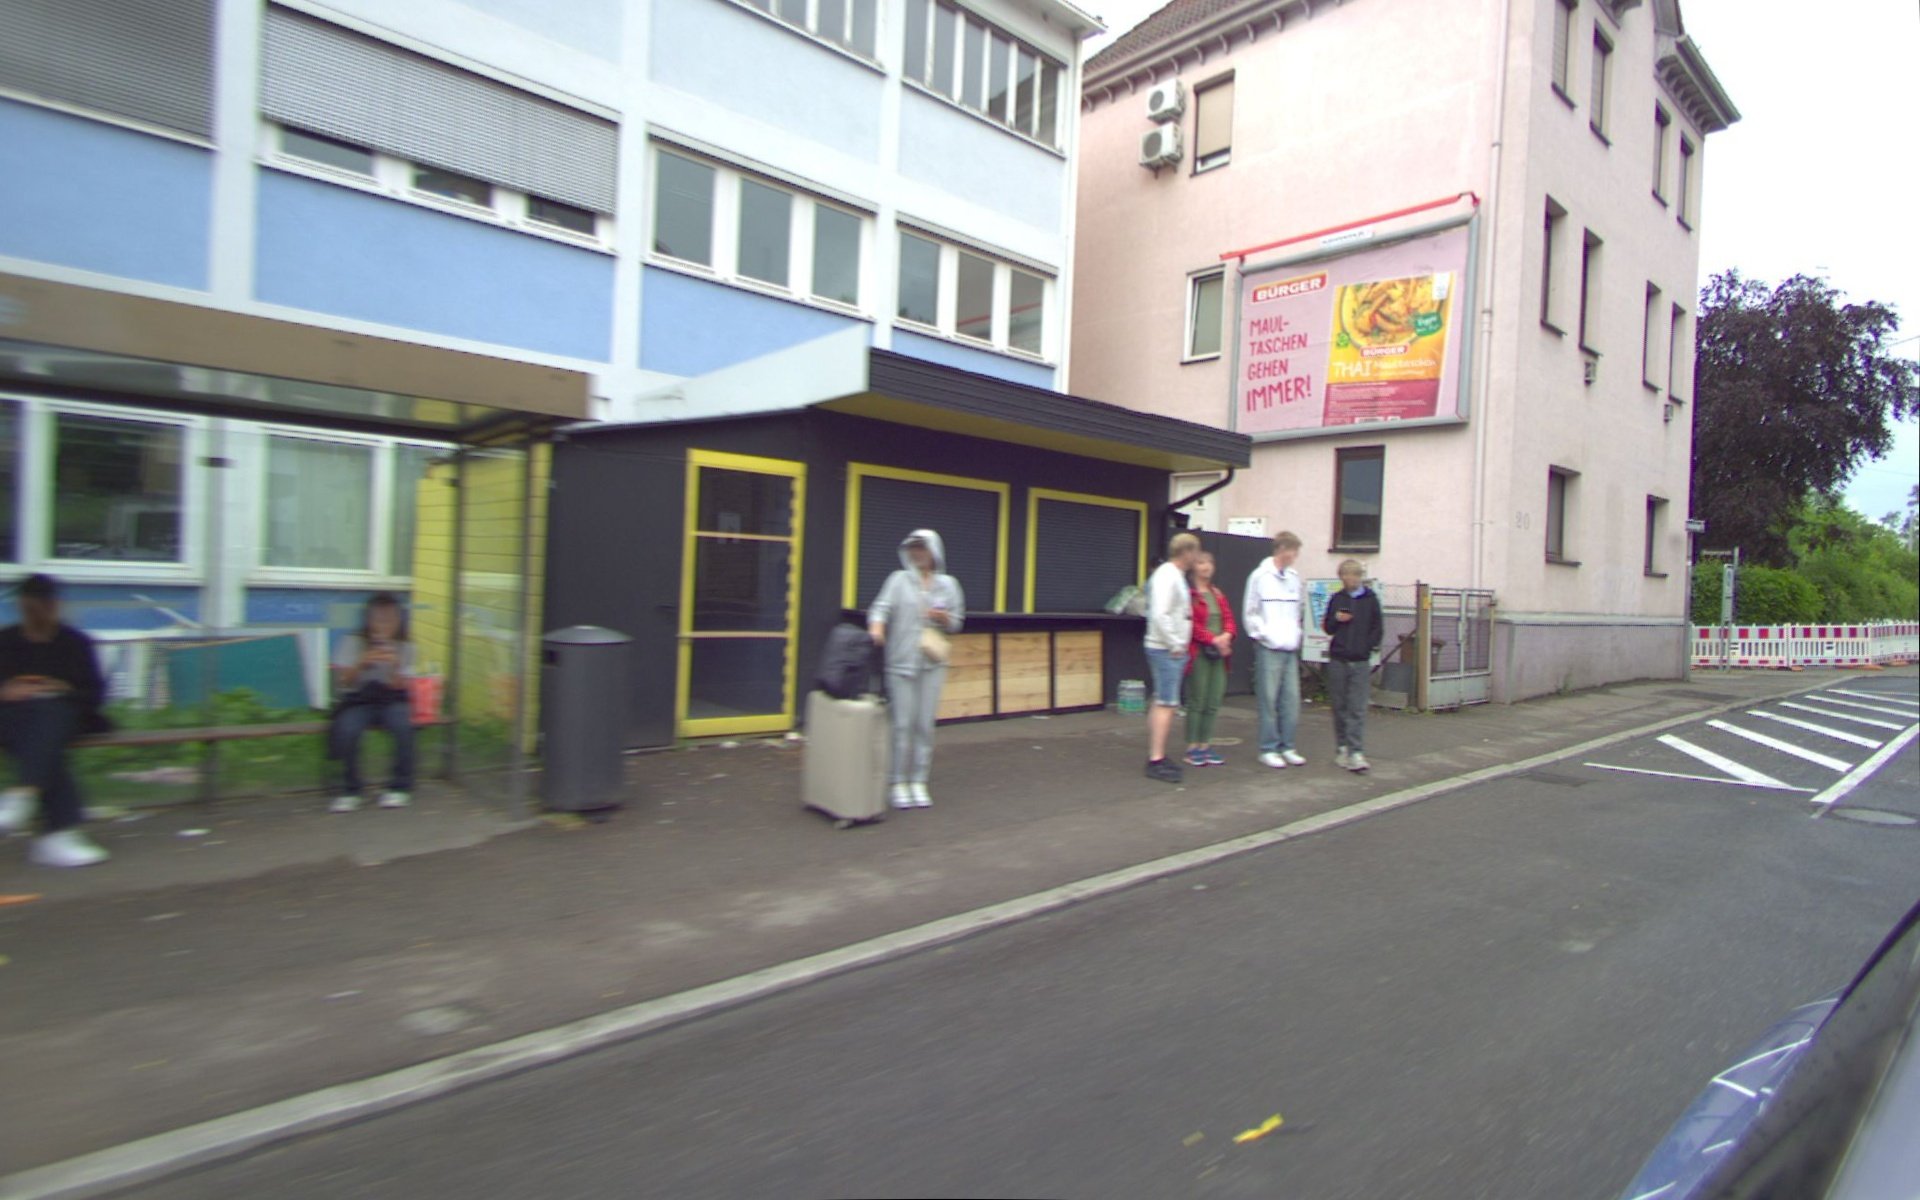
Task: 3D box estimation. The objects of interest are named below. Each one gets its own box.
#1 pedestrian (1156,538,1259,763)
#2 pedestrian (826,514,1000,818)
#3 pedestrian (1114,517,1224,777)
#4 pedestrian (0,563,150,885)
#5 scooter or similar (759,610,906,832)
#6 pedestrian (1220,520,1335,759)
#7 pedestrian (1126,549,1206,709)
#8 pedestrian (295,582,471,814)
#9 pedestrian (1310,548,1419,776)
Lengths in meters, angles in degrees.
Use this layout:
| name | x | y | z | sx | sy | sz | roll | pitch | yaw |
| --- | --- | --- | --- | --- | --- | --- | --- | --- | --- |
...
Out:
| name | x | y | z | sx | sy | sz | roll | pitch | yaw |
| --- | --- | --- | --- | --- | --- | --- | --- | --- | --- |
| pedestrian | 1.978 | 0.387 | 8.107 | 0.546 | 1.728 | 0.449 | 2 | 3 | -26 |
| pedestrian | -0.295 | 0.364 | 6.385 | 0.660 | 1.762 | 0.816 | 4 | 3 | 44 |
| pedestrian | 1.571 | 0.327 | 7.612 | 0.459 | 1.862 | 0.595 | 6 | 4 | 44 |
| pedestrian | -4.343 | 0.494 | 4.718 | 1.356 | 1.289 | 0.730 | 4 | 3 | 44 |
| scooter or similar | -0.746 | 0.662 | 5.902 | 0.618 | 1.154 | 0.559 | 4 | 3 | 44 |
| pedestrian | 2.593 | 0.311 | 8.303 | 0.619 | 1.897 | 0.489 | 2 | 3 | -13 |
| pedestrian | 2.239 | 0.289 | 10.974 | 0.667 | 1.645 | 0.620 | 4 | 3 | 21 |
| pedestrian | -3.359 | 0.518 | 5.891 | 0.660 | 1.213 | 0.730 | 4 | 3 | 44 |
| pedestrian | 3.273 | 0.461 | 8.252 | 0.627 | 1.730 | 0.746 | 4 | 3 | 16 |
